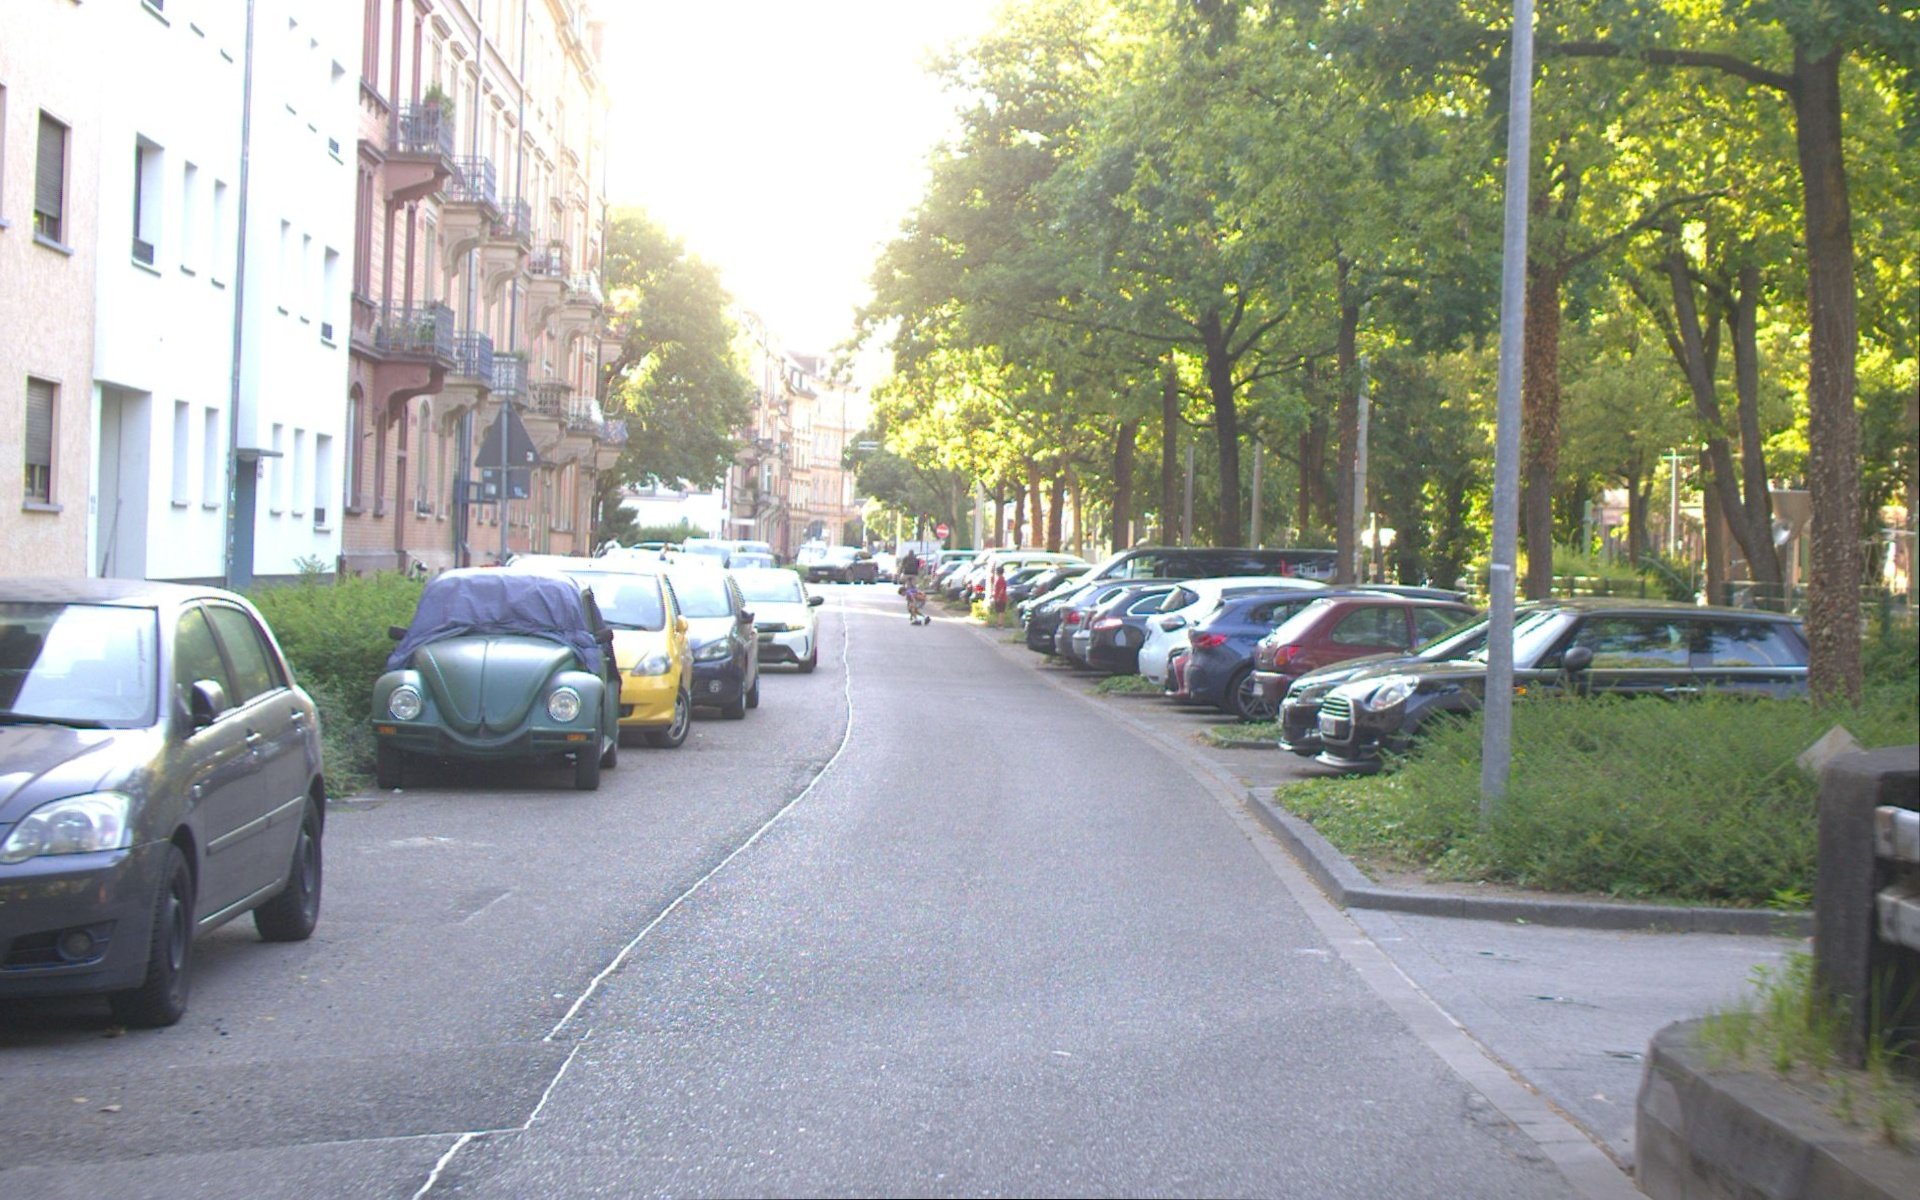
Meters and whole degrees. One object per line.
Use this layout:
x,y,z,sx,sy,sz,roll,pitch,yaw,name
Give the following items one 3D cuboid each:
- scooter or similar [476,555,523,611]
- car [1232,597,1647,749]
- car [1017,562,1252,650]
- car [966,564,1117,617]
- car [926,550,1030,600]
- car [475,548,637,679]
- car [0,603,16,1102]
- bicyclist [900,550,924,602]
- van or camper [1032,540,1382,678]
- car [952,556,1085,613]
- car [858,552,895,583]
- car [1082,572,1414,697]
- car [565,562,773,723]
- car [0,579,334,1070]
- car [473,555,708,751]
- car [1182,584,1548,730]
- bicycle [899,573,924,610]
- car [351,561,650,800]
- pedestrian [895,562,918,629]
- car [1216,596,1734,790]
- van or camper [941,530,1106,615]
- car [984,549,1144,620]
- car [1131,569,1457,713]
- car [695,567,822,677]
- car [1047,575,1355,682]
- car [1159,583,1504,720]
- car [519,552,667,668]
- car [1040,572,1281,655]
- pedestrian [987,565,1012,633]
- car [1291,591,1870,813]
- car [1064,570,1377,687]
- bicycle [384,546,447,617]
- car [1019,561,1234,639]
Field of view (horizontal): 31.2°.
-10.838,-0.389,80.969,0.783,1.218,2.704,3,-1,-2,scooter or similar
4.755,0.727,34.419,3.781,1.397,1.767,1,-1,-5,car
3.384,0.115,67.285,4.399,1.585,1.838,1,0,-2,car
2.313,-0.282,96.885,4.220,1.448,1.649,0,1,3,car
0.708,-1.005,139.673,3.986,1.788,1.859,3,-1,-4,car
-5.254,0.143,45.087,1.668,1.503,4.000,5,1,-2,car
-3.381,0.713,7.312,1.689,1.436,4.000,2,0,-1,car
-1.501,-0.750,107.895,0.627,1.568,0.802,3,-1,-3,bicyclist
3.883,0.122,54.828,5.414,2.020,2.029,1,1,1,van or camper
1.769,-0.470,104.940,3.987,1.685,1.859,0,1,-1,car
-4.060,-1.578,166.210,1.668,1.459,4.001,1,1,-3,car
3.910,0.474,46.976,4.400,1.572,1.664,1,-1,3,car
-2.846,0.377,34.349,1.739,1.474,4.000,1,1,0,car
-3.398,0.672,12.310,1.636,1.461,4.000,-1,0,-1,car
-3.097,0.411,29.409,1.702,1.520,3.774,2,0,-2,car
4.287,0.607,36.829,3.782,1.442,1.664,1,-1,4,car
-1.531,-0.259,107.921,0.641,1.096,1.944,3,-1,-3,bicycle
-3.163,0.507,24.252,1.566,1.512,3.782,2,0,0,car
-1.291,-0.120,83.025,0.380,1.579,0.518,3,3,18,pedestrian
4.004,0.722,27.189,3.782,1.397,1.827,1,-1,0,car
1.994,-0.866,109.410,4.981,2.369,2.185,3,-1,-3,van or camper
2.771,-0.413,92.443,4.220,1.857,1.762,0,1,-1,car
4.068,0.507,42.252,3.782,1.640,1.664,1,-1,-1,car
-2.879,0.292,49.786,1.668,1.426,4.001,0,2,-1,car
3.609,0.437,52.045,4.398,1.496,1.838,1,-1,-4,car
4.234,0.591,39.620,3.782,1.468,1.664,1,-1,1,car
-5.311,0.117,50.191,1.668,1.466,4.284,5,1,-1,car
3.735,0.254,64.536,4.399,1.435,1.838,1,0,1,car
0.902,-0.025,79.094,0.380,1.511,0.518,3,3,18,pedestrian
4.421,0.727,24.793,3.781,1.467,1.635,1,-1,-5,car
3.746,0.416,49.926,4.399,1.572,1.664,1,-1,1,car
-9.957,-0.352,62.966,0.737,1.202,2.514,3,1,-1,bicycle
3.587,-0.006,74.669,4.398,1.585,1.838,1,0,-6,car
